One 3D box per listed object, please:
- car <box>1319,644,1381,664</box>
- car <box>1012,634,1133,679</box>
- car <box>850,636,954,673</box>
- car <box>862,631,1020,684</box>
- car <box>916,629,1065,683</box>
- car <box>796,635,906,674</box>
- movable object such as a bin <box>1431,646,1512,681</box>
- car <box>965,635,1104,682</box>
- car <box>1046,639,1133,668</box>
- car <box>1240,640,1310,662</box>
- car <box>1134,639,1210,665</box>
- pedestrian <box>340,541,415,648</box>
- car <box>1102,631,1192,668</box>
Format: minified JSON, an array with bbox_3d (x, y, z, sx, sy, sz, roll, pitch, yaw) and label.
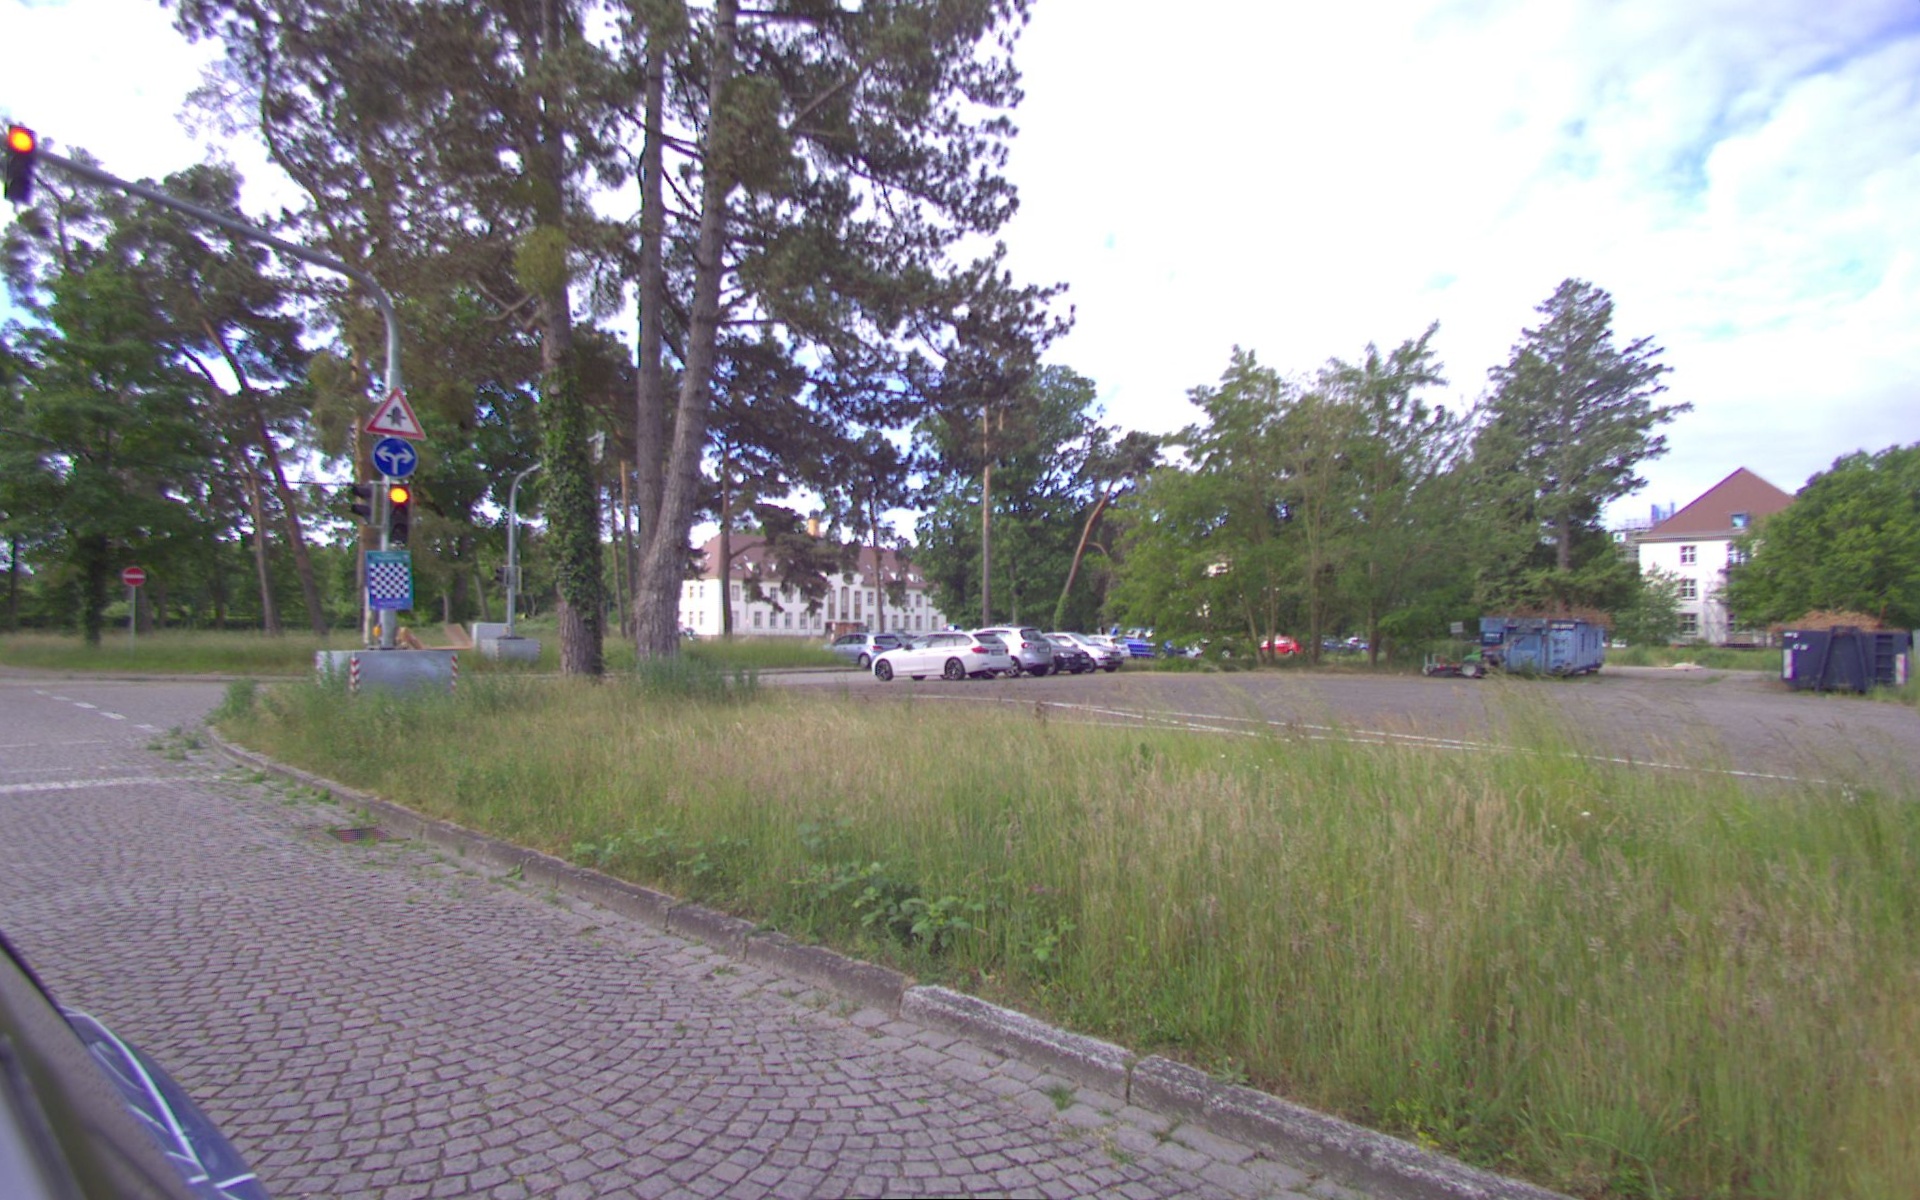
[{"bbox_3d":[32.984,4.588,85.664,4.579,1.533,1.817,-4,-4,39],"label":"car"},{"bbox_3d":[4.040,2.056,36.644,4.112,1.533,1.714,-4,-4,42],"label":"car"},{"bbox_3d":[-2.613,2.440,44.803,4.579,1.533,1.817,-3,-4,39],"label":"car"},{"bbox_3d":[-0.630,1.741,30.229,4.650,1.461,1.817,-3,-4,39],"label":"car"},{"bbox_3d":[0.919,1.803,32.300,4.579,1.590,1.817,-3,-4,39],"label":"car"},{"bbox_3d":[-4.672,2.345,43.037,4.572,1.559,1.820,-3,-4,34],"label":"car"},{"bbox_3d":[14.541,1.781,28.769,1.931,0.940,1.029,-1,-3,35],"label":"movable object such as a bin"},{"bbox_3d":[2.469,1.998,34.413,4.583,1.480,1.815,-3,-4,42],"label":"car"},{"bbox_3d":[7.251,3.020,56.854,4.579,1.586,1.817,-3,-4,39],"label":"car"},{"bbox_3d":[23.292,3.780,74.999,4.579,1.533,1.817,-3,-4,39],"label":"car"},{"bbox_3d":[13.061,3.234,62.465,4.283,1.533,1.727,-3,-4,39],"label":"car"},{"bbox_3d":[-8.660,-0.059,15.045,0.869,1.529,0.824,2,-3,-34],"label":"pedestrian"},{"bbox_3d":[11.133,2.959,60.473,4.978,2.113,1.816,-4,-4,41],"label":"car"}]
